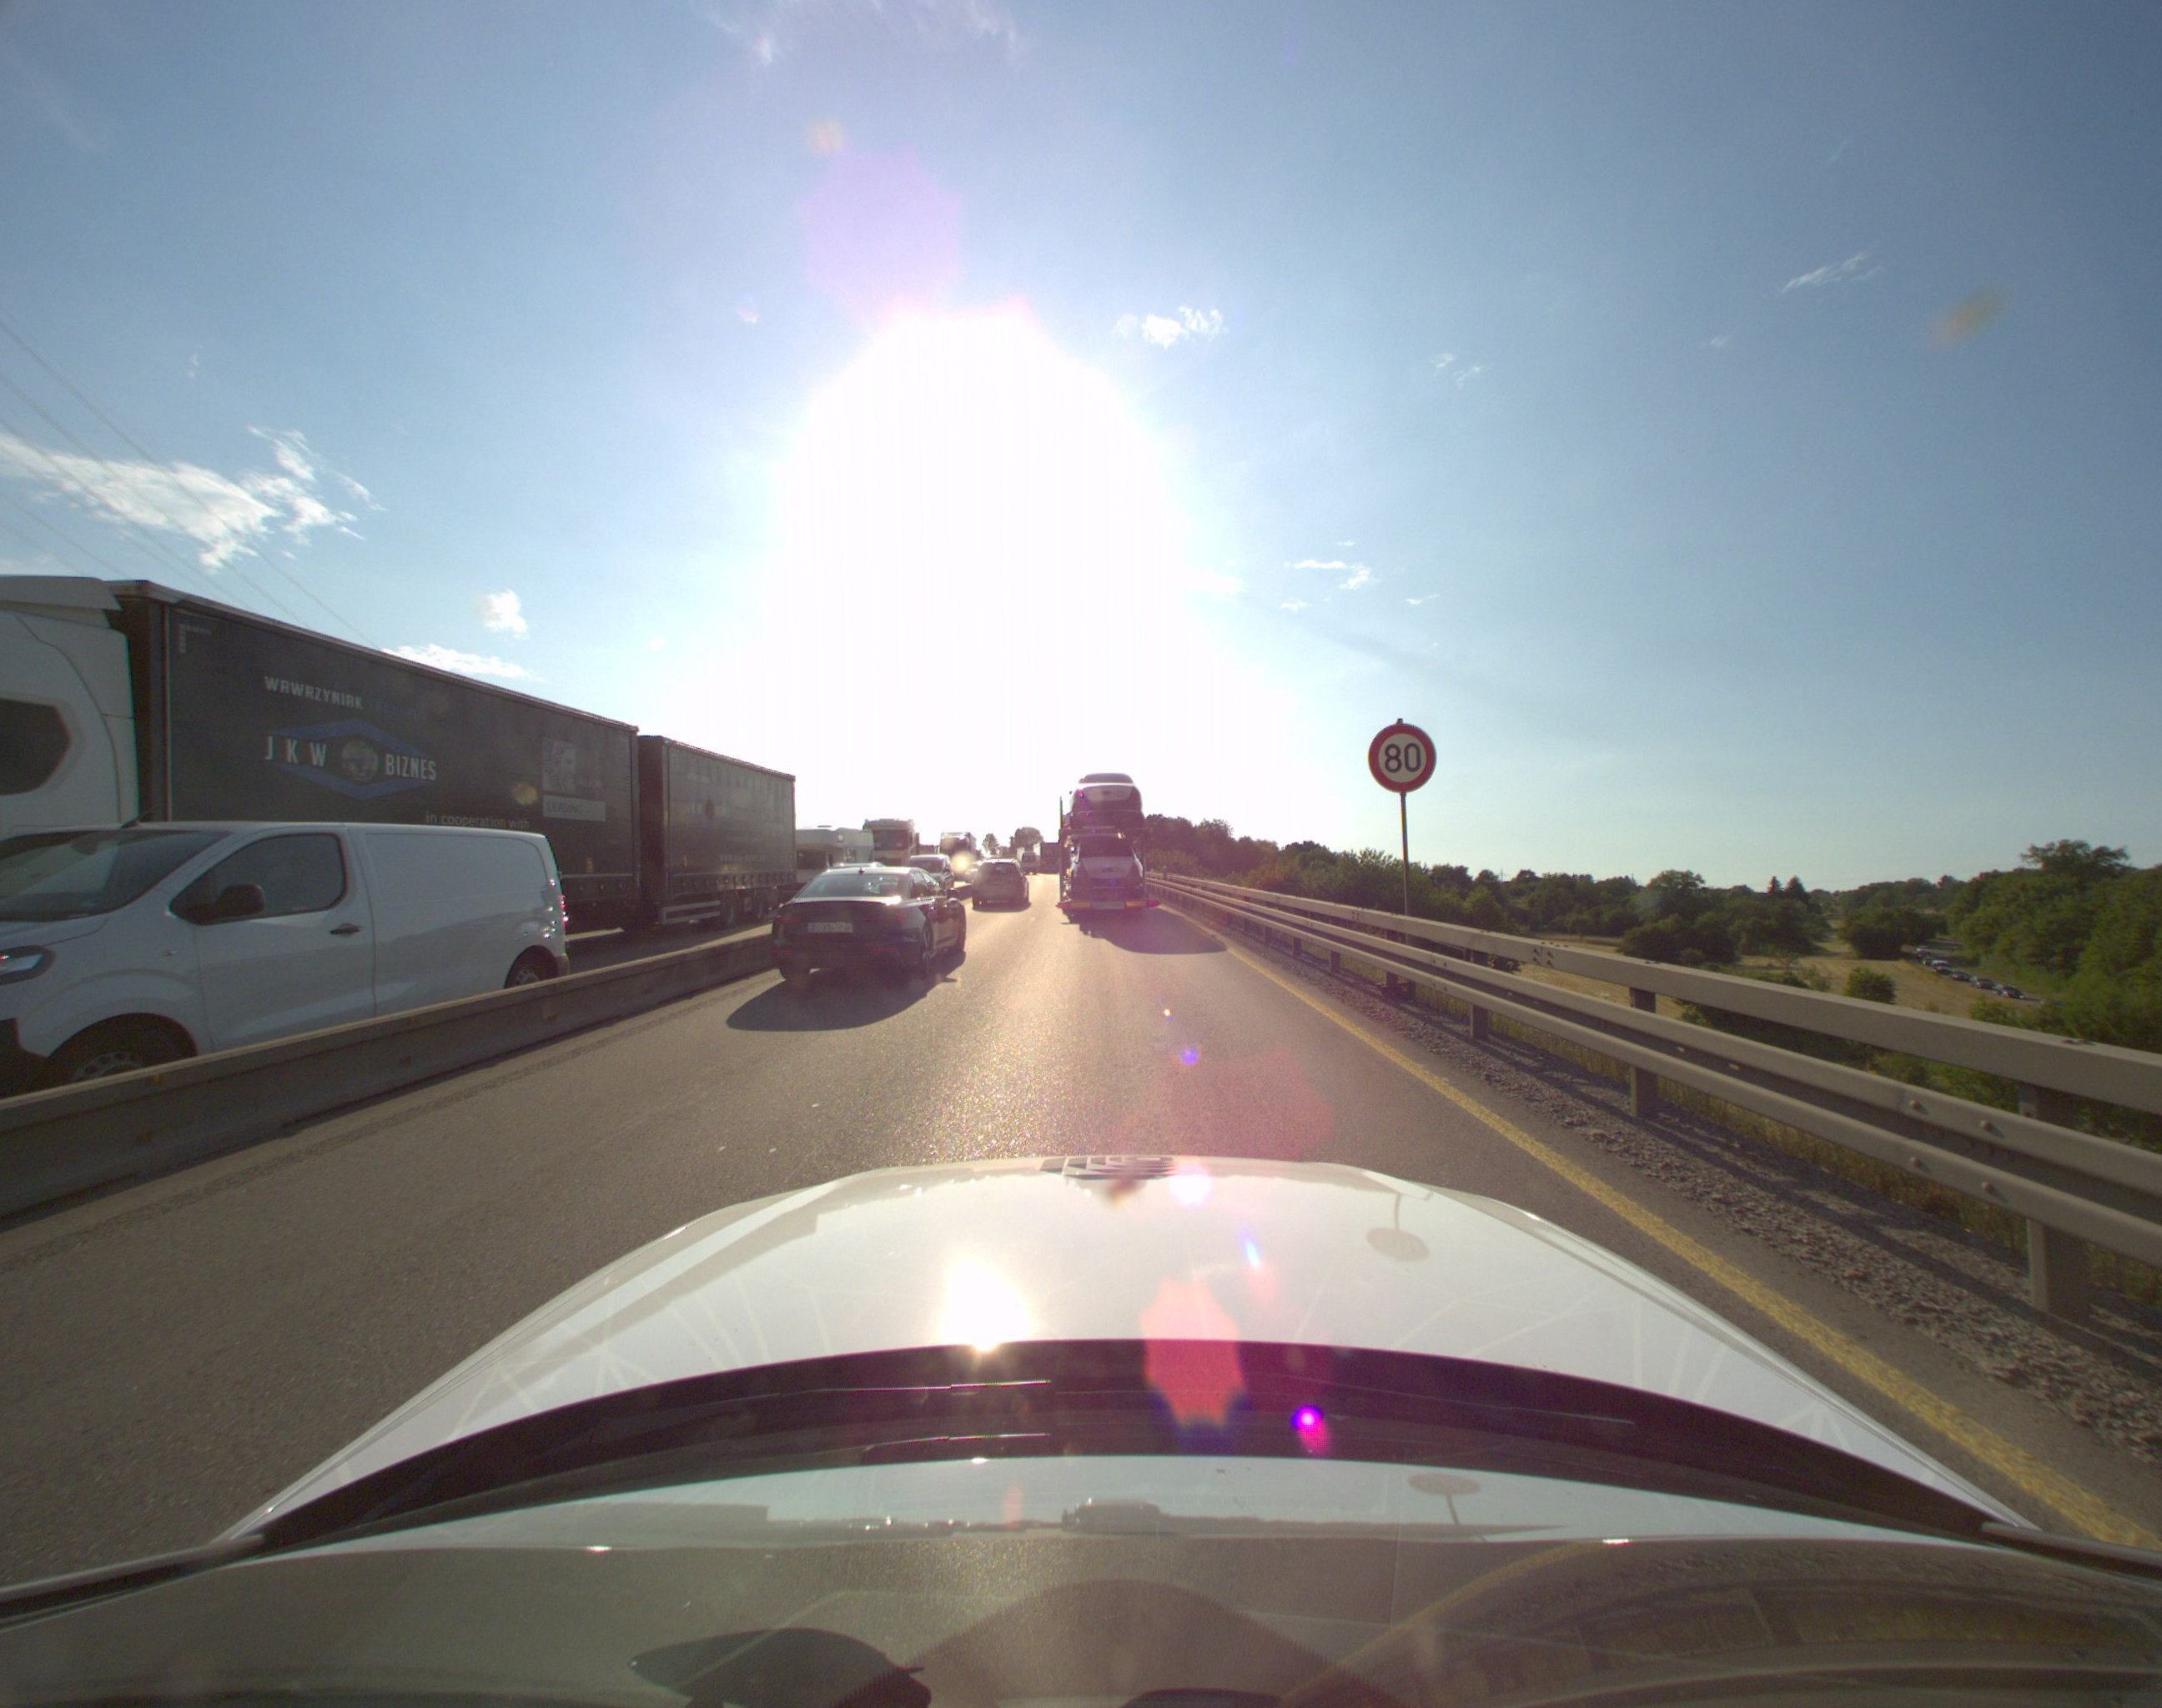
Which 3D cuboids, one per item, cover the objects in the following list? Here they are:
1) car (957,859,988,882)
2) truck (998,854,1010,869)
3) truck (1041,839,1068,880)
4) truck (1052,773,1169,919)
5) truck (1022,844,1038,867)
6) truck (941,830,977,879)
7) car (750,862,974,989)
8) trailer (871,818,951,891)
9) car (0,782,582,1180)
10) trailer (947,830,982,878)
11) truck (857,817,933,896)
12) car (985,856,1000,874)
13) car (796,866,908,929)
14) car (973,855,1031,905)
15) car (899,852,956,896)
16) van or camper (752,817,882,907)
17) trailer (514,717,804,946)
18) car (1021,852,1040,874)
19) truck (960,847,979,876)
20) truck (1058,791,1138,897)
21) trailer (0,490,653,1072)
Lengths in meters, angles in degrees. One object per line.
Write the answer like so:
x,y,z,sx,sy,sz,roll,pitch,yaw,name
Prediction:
-7.844,1.188,59.351,1.789,1.511,4.582,-1,-1,-2,car
-17.780,1.727,187.915,2.587,3.170,6.663,-1,-1,-6,truck
-3.651,0.757,108.953,3.279,5.237,9.921,-1,-1,-4,truck
0.655,-0.140,25.088,2.791,3.497,10.600,-1,-1,-1,truck
-8.616,0.333,138.708,2.525,3.648,8.893,-1,-1,-3,truck
-10.510,0.067,70.483,2.498,4.066,5.657,-1,-1,-4,truck
-2.863,0.854,11.925,1.928,1.399,4.959,-1,0,0,car
-9.905,0.127,49.033,2.514,3.725,13.962,-1,-1,-3,trailer
-6.153,0.659,6.127,1.811,1.925,4.834,-1,-1,0,car
-11.028,0.136,78.053,2.303,4.130,14.575,-1,-1,-5,trailer
-9.581,0.145,42.542,2.594,3.754,6.512,-1,-1,-2,truck
-13.154,1.668,121.841,2.054,2.500,6.762,-1,-1,-5,car
-6.015,1.077,21.956,1.675,1.479,4.602,-1,-1,0,car
-2.697,0.869,28.413,1.687,1.596,3.997,-1,-1,-1,car
-6.324,0.819,33.963,1.753,1.695,4.448,-1,-1,-3,car
-9.482,0.311,30.189,2.401,2.891,7.614,-1,-1,-1,van or camper
-9.244,-0.363,19.293,2.435,4.189,8.540,-1,-1,-1,trailer
-5.937,1.092,96.720,1.915,2.493,5.406,-1,-1,-1,car
-15.944,1.045,117.062,2.500,4.066,5.871,-1,-1,-6,truck
0.516,-0.291,34.496,2.830,3.792,9.979,-1,-1,-1,truck
-9.217,-0.483,9.759,2.467,4.329,10.511,-1,-1,1,trailer
